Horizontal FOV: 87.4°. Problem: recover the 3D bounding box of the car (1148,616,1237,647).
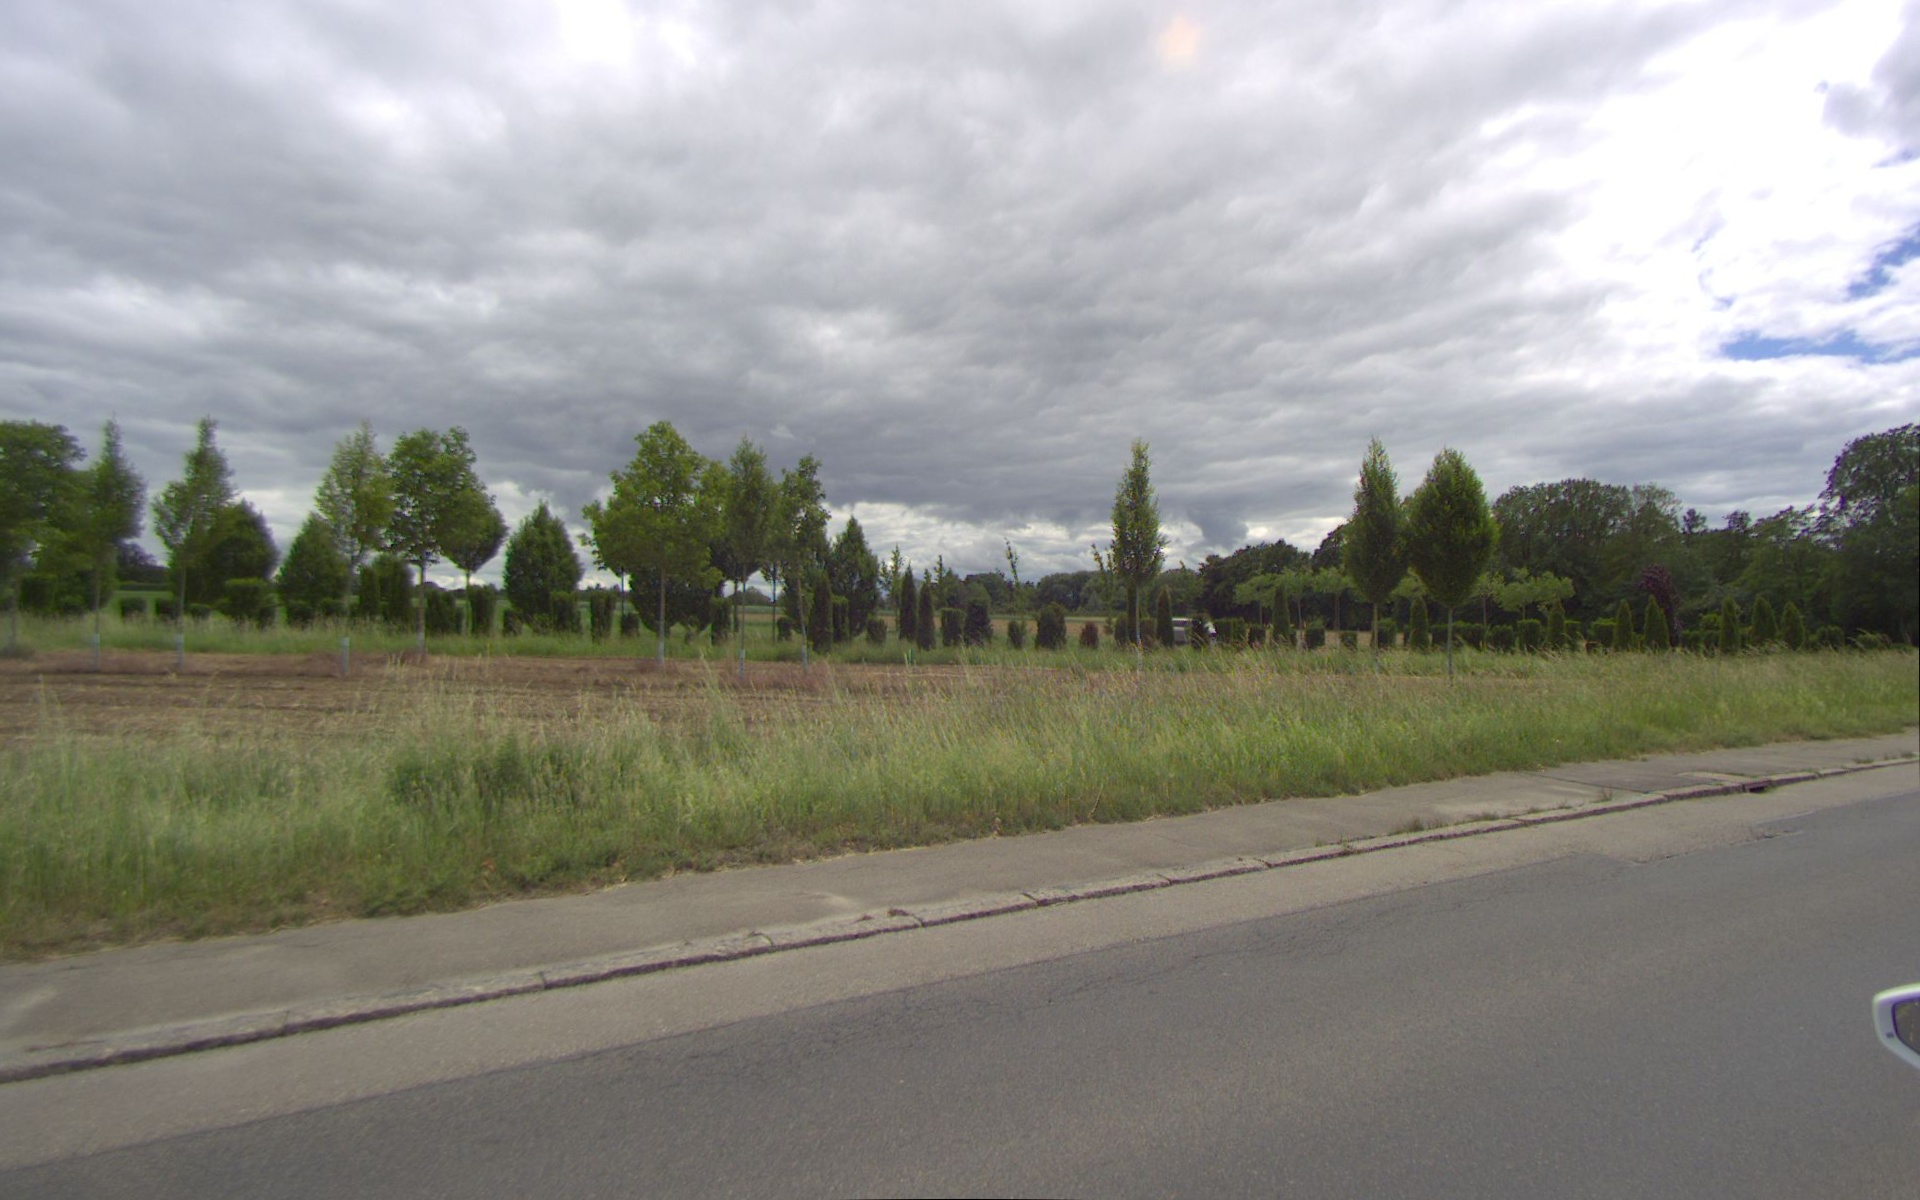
[{"bbox_3d":[11.766,1.596,50.887,3.940,1.473,1.966,-1,-2,40],"label":"car"}]
